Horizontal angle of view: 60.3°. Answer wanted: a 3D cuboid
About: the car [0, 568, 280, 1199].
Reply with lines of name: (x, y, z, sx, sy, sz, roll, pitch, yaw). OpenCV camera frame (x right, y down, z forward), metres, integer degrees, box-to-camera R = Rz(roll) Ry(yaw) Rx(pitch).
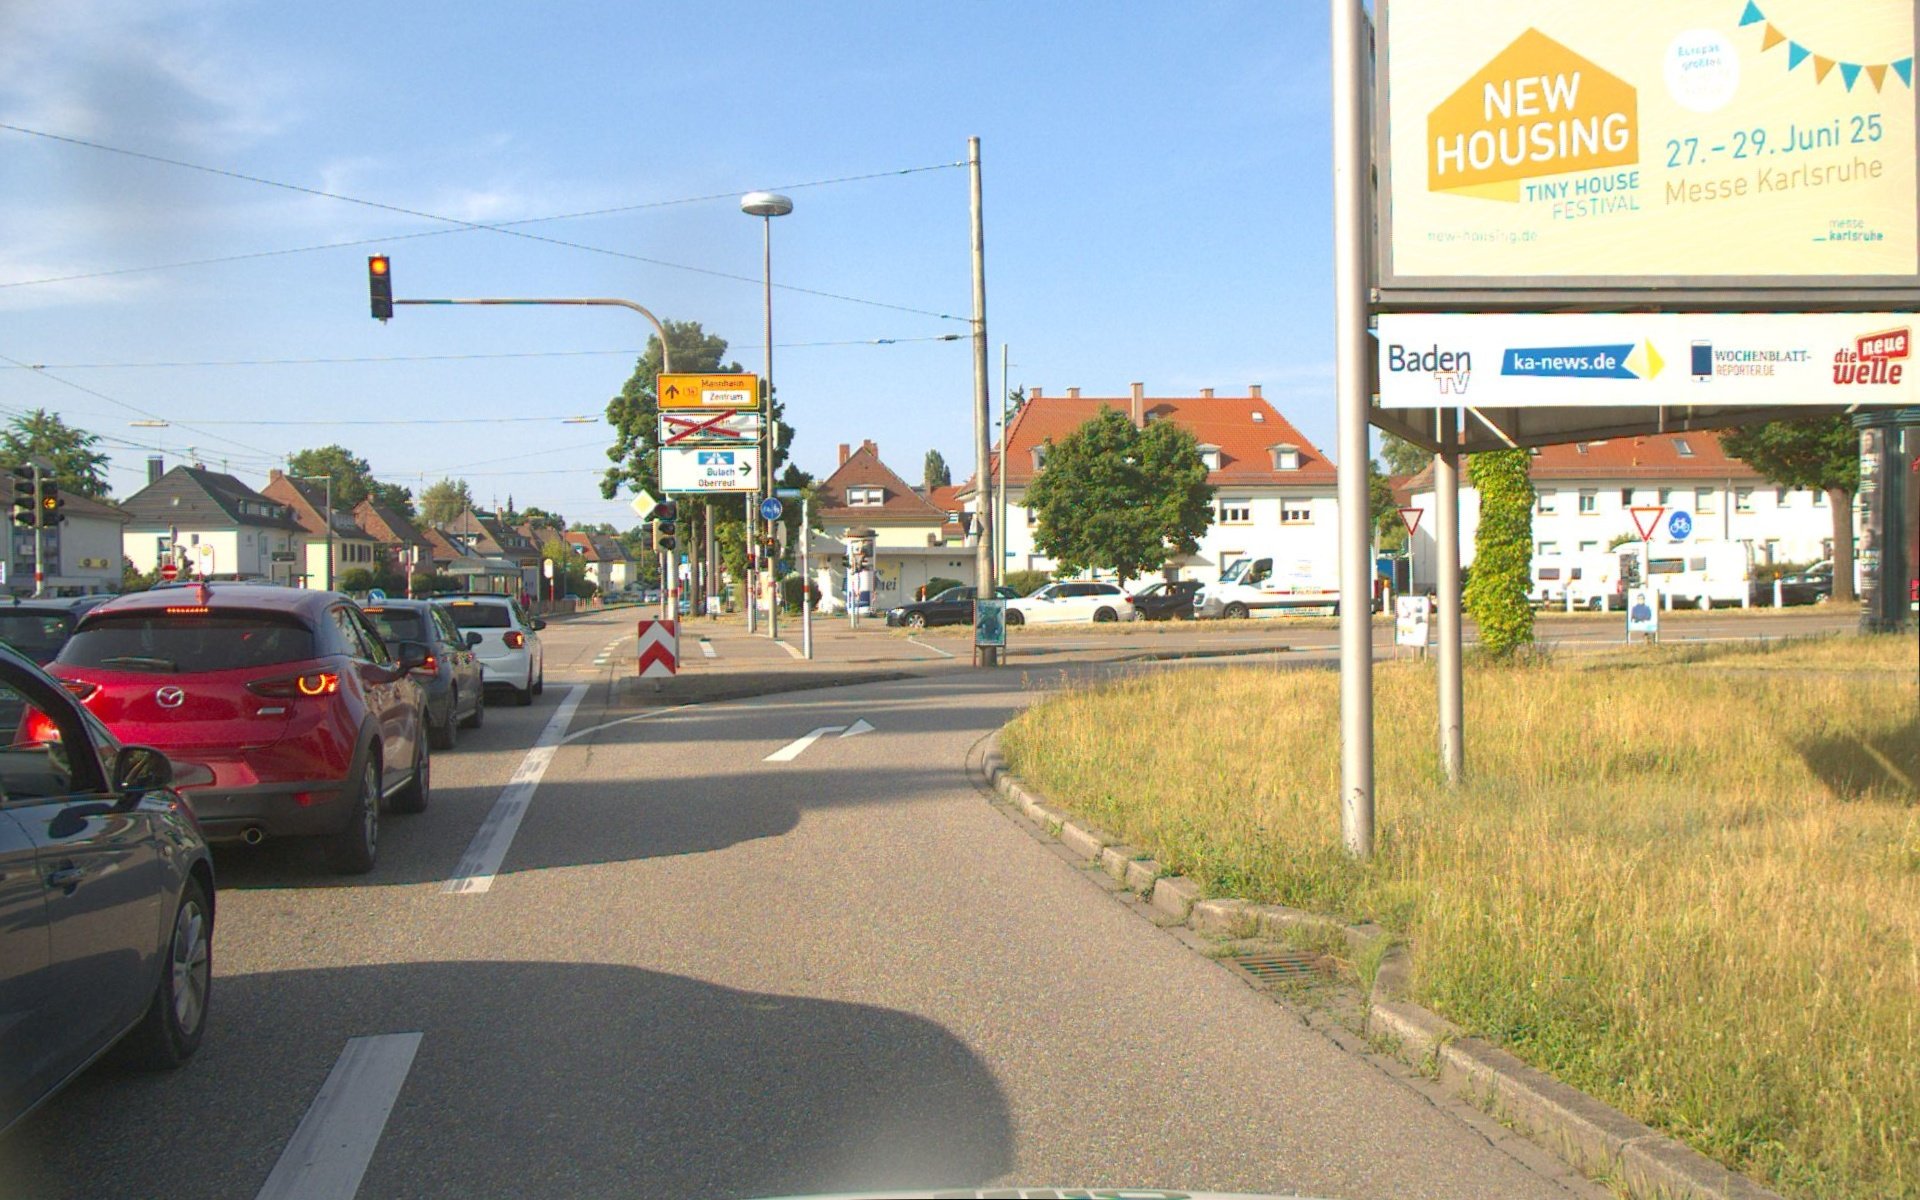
car: (-3.005, 0.710, 4.068, 1.711, 1.531, 4.209, -1, 1, -12)

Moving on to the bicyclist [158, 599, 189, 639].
bicyclist: (-28.646, 0.694, 60.261, 0.870, 1.456, 1.130, 0, -1, -19)

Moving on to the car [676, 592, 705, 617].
car: (-15.671, 0.271, 96.318, 1.644, 1.422, 3.991, 0, -1, -9)

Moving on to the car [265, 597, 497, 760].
car: (-5.814, 0.707, 17.020, 1.612, 1.421, 3.818, -2, 1, -10)

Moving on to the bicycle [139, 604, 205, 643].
bicycle: (-28.692, 0.851, 60.251, 2.043, 1.371, 1.102, 0, -1, -19)

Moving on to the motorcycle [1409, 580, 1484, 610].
motorcycle: (15.431, -0.157, 52.483, 2.230, 0.882, 0.689, -1, 0, -11)

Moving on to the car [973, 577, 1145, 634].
car: (3.025, 0.153, 50.962, 5.001, 1.590, 1.836, -2, 0, -10)

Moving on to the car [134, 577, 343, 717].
car: (-9.833, 0.563, 22.898, 1.479, 1.680, 4.734, -2, 1, -9)

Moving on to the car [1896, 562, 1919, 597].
car: (44.456, -0.962, 74.847, 3.432, 1.540, 1.888, -1, 0, 38)

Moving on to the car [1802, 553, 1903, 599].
car: (40.456, -1.065, 74.962, 3.829, 1.953, 1.890, -1, 0, 34)

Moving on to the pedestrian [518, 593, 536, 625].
pedestrian: (-20.796, 0.447, 79.455, 0.739, 1.525, 0.825, 0, -1, -8)

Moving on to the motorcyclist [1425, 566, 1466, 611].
motorcyclist: (15.418, -0.370, 52.494, 1.046, 1.375, 0.678, -1, 0, -11)

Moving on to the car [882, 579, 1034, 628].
car: (-0.096, 0.110, 53.961, 4.735, 1.436, 1.712, -2, 0, -10)

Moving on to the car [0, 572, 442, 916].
car: (-4.189, 0.670, 9.924, 1.677, 1.579, 3.965, -2, 1, -12)

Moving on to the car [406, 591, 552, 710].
car: (-6.625, 0.635, 23.114, 1.627, 1.468, 4.002, -2, 1, -12)

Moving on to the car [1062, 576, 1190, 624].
car: (5.496, -0.009, 54.926, 3.914, 1.478, 1.712, -2, 0, -10)

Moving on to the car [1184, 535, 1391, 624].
car: (10.314, -0.656, 52.299, 6.095, 2.628, 1.995, -1, 0, -10)

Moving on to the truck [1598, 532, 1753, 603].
truck: (31.392, -1.382, 72.634, 5.953, 2.904, 1.890, -1, 0, 34)

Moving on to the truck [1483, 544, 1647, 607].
truck: (25.883, -1.029, 70.926, 2.261, 2.568, 6.253, -2, 1, -44)

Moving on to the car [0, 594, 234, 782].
car: (-8.509, 0.726, 15.906, 1.668, 1.534, 4.544, -1, 0, -9)
